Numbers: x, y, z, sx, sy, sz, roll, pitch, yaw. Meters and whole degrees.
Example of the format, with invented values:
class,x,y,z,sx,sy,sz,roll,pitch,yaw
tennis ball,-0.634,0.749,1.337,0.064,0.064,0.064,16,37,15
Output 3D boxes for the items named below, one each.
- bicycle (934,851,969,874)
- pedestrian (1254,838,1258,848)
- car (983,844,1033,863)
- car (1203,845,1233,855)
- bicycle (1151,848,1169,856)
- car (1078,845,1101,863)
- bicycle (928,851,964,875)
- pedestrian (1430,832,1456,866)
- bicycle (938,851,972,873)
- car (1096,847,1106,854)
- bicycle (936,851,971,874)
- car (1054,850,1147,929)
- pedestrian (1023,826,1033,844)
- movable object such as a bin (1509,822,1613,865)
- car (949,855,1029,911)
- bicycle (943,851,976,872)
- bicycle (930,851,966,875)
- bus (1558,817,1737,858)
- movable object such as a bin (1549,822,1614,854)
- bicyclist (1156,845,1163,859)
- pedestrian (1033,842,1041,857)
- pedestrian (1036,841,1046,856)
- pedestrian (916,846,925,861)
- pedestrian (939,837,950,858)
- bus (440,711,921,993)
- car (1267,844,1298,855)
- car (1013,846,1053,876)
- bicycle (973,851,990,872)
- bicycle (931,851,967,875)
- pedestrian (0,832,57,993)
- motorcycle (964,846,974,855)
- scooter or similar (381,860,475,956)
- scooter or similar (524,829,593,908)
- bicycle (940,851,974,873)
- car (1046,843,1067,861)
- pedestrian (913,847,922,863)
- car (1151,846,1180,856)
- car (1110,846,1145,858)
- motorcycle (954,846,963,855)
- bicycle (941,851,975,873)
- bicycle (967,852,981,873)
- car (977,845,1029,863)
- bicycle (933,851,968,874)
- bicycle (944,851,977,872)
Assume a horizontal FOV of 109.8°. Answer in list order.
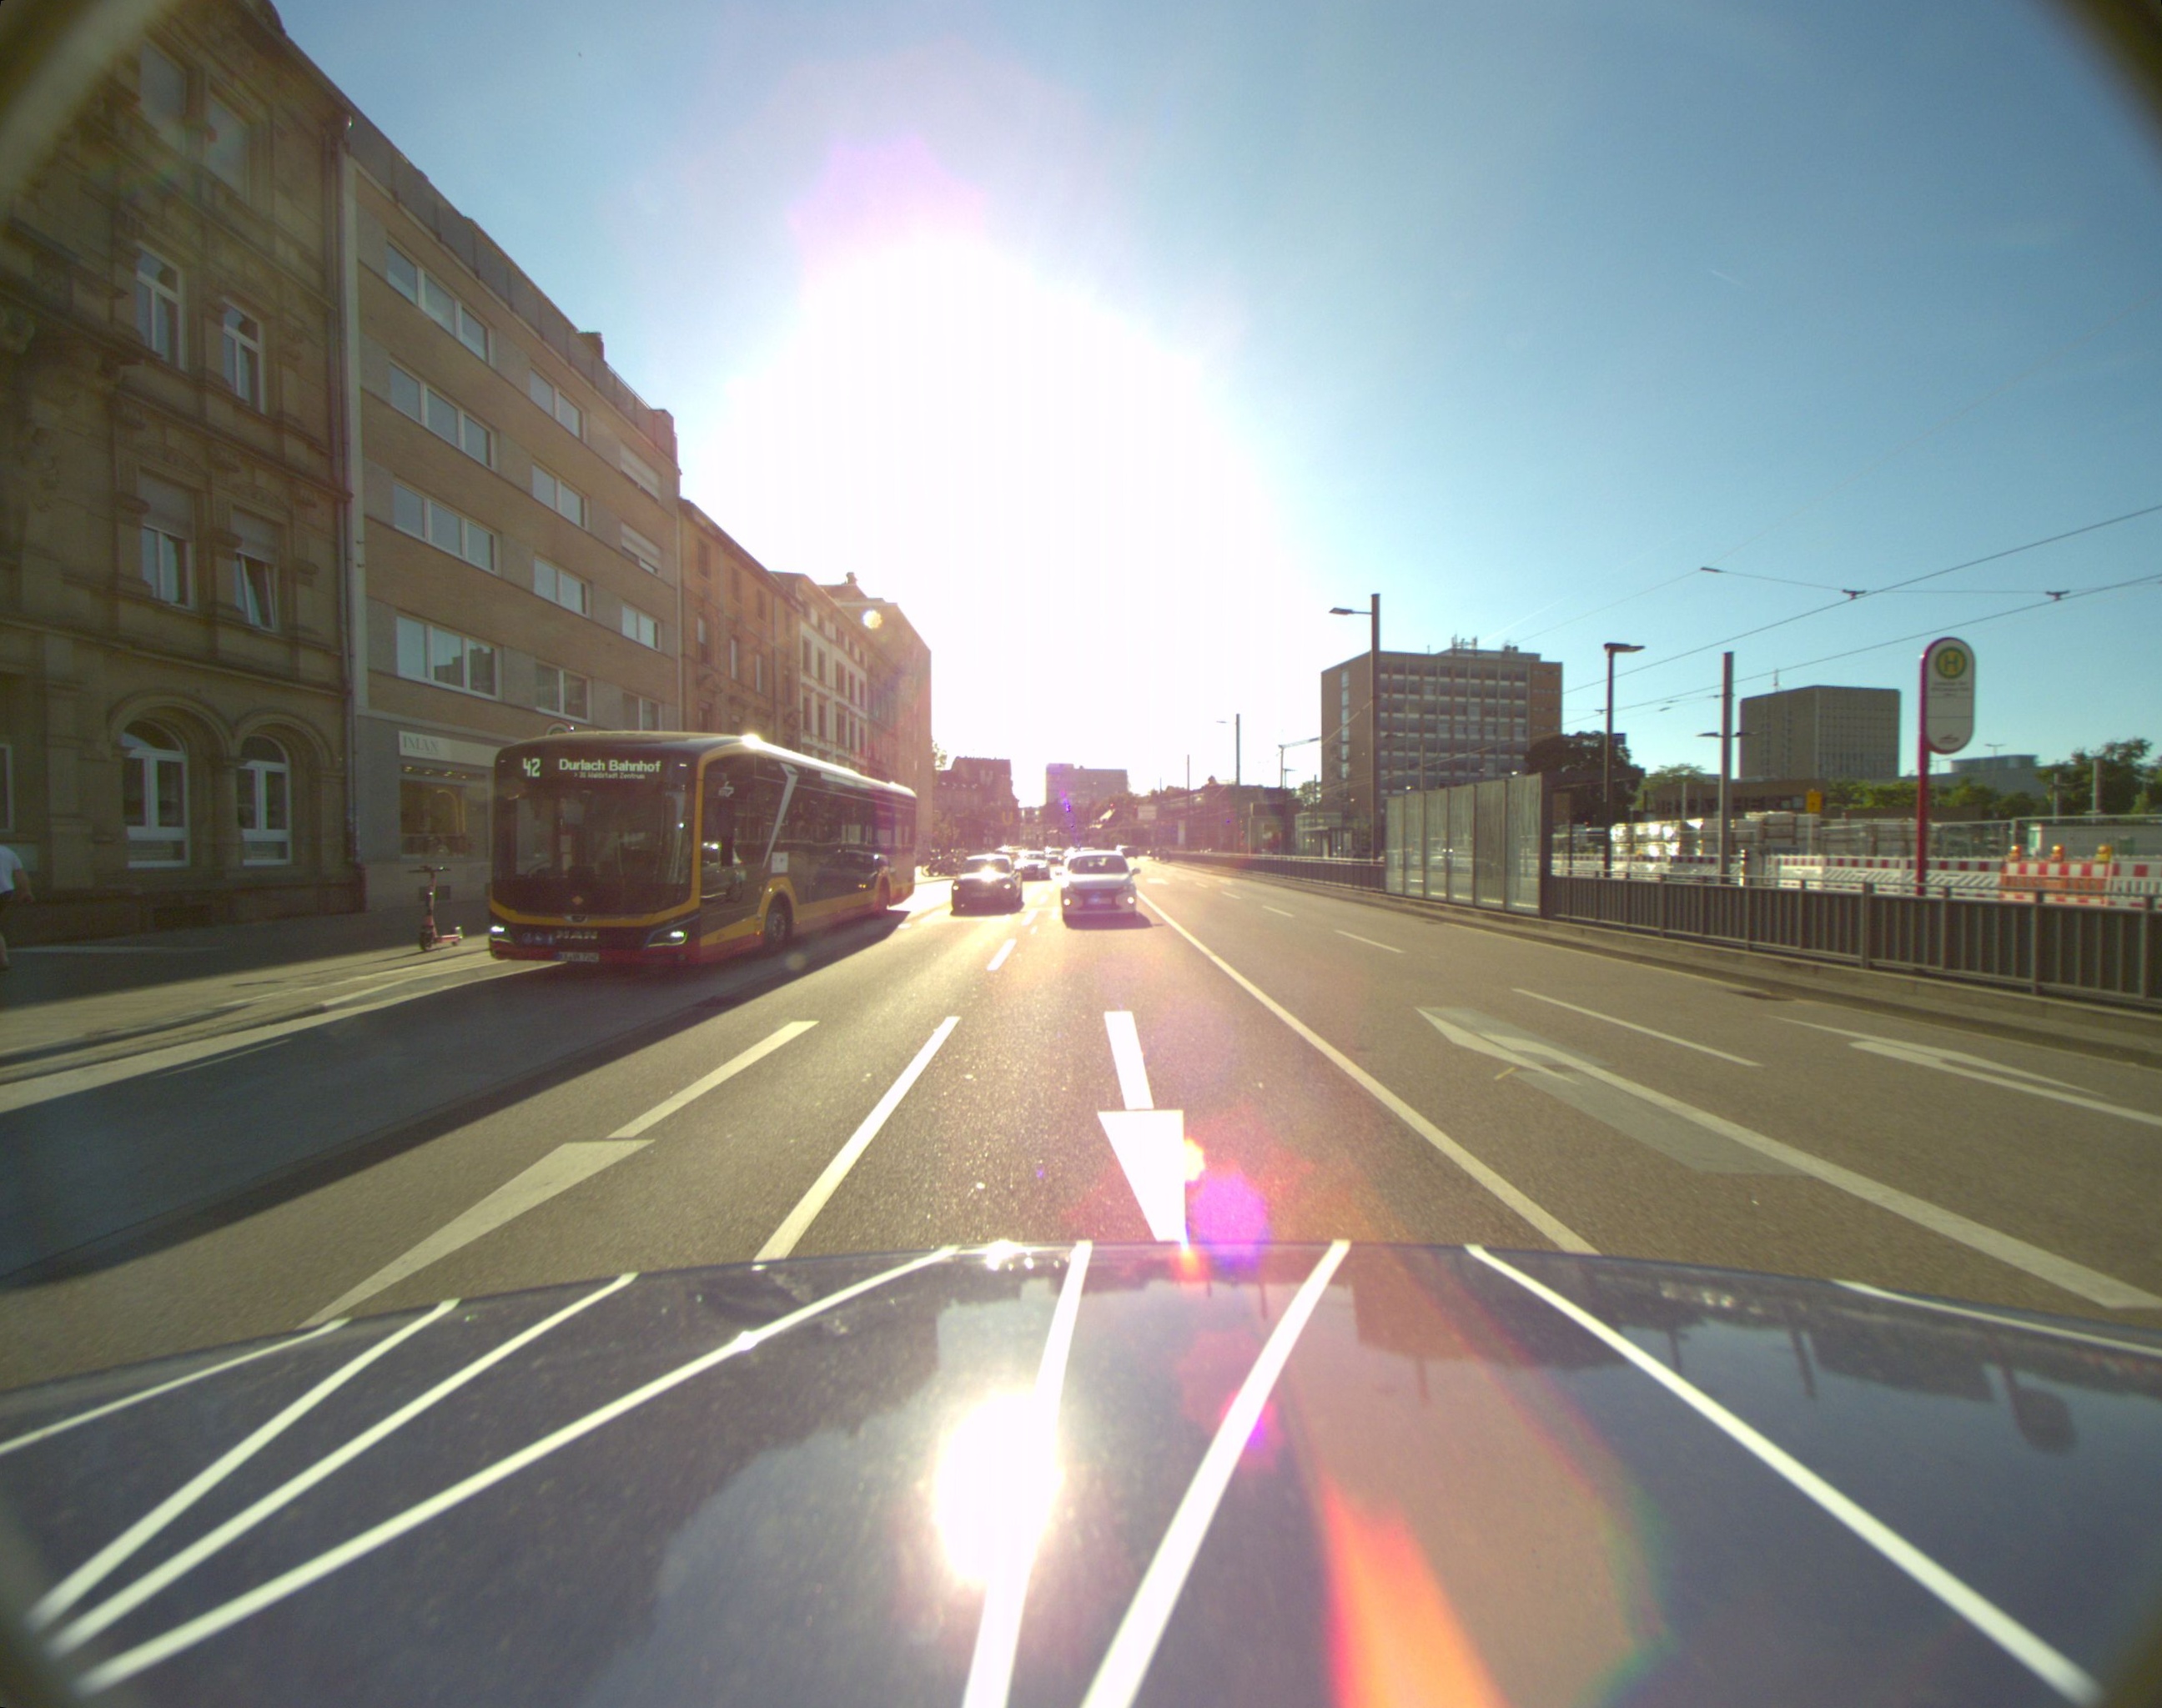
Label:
class,x,y,z,sx,sy,sz,roll,pitch,yaw
bicycle,-6.939,0.460,40.830,1.769,1.180,0.470,-1,0,0
pedestrian,30.816,-1.949,133.658,0.732,1.730,0.622,0,3,11
car,-6.697,-0.059,69.887,4.259,1.561,1.955,-2,1,-44
car,22.480,-0.668,124.844,4.698,1.673,2.003,0,-2,15
bicycle,9.122,-0.209,87.465,1.894,0.936,0.815,1,1,-5
car,0.790,-0.017,73.811,1.999,1.666,4.281,-1,1,-2
bicycle,-6.890,0.461,38.835,1.769,1.180,0.470,-1,0,0
pedestrian,19.144,-0.247,40.182,0.804,1.757,1.180,1,-1,0
bicycle,-6.940,0.461,41.852,1.769,1.180,0.470,-1,0,0
car,5.086,-0.897,192.962,1.757,1.455,4.015,-1,-1,-12
bicycle,-6.937,0.463,41.332,1.769,1.180,0.470,-1,0,0
car,0.571,0.742,17.747,1.719,1.484,3.871,-2,2,8
pedestrian,-5.485,-1.975,78.962,0.755,1.856,0.696,-1,2,-42
movable object such as a bin,30.607,-0.594,48.720,2.637,2.510,5.163,1,-2,-18
car,-2.496,0.748,21.435,1.694,1.380,3.832,-2,0,1
bicycle,-6.946,0.439,43.357,1.769,1.172,0.470,-1,0,0
bicycle,-6.871,0.457,39.329,1.769,1.180,0.470,-1,0,0
bus,50.499,-1.323,68.301,12.624,3.174,2.848,-1,-2,44
movable object such as a bin,28.543,-0.867,43.470,1.176,1.577,3.866,1,-2,-1
bicyclist,9.000,-0.258,87.455,0.676,1.607,0.815,1,2,-5
pedestrian,-5.009,-0.481,86.014,0.698,1.718,0.752,-1,1,-16
pedestrian,-4.678,-0.651,89.154,0.796,1.718,0.868,-1,1,-31
pedestrian,-13.831,-0.067,65.487,0.516,1.312,0.592,0,1,7
pedestrian,-12.533,-0.615,69.543,0.754,1.856,0.829,-1,1,-30
bus,-5.848,-0.103,14.855,2.722,3.163,12.538,1,1,0
car,32.153,-0.671,121.022,4.698,1.673,2.003,0,-2,15
car,-2.378,0.310,38.455,1.826,1.380,4.456,-2,1,-2
bicycle,-5.795,0.433,44.117,0.470,1.140,1.767,-1,0,-23
bicycle,-6.906,0.469,39.833,1.796,1.180,0.470,-1,0,0
pedestrian,-12.634,0.661,8.661,0.853,1.822,0.780,1,-1,8
motorcycle,-14.751,-0.474,99.831,1.041,1.068,2.279,1,0,-15
scooter or similar,-9.329,0.735,10.904,0.433,1.242,1.293,1,2,-12
scooter or similar,-8.734,0.216,12.737,0.432,1.242,1.293,1,2,-9
bicycle,-6.902,0.444,42.359,1.769,1.180,0.470,-1,0,0
car,-2.083,-0.185,66.286,1.783,1.455,3.914,0,1,-1
pedestrian,-13.923,0.093,64.765,0.516,1.312,0.592,0,1,7
car,14.516,-0.451,130.720,4.697,1.673,2.003,0,-2,18
car,6.551,-0.283,107.855,4.625,1.679,1.995,-1,1,-30
motorcycle,-15.052,-0.436,93.262,0.880,1.040,1.803,1,2,-2
bicycle,-6.935,0.443,42.859,1.769,1.180,0.470,-1,0,0
bicycle,-5.810,0.442,41.402,0.470,1.140,1.771,-1,0,0
car,-6.786,0.007,66.225,4.121,1.455,1.956,-1,1,-41
bicycle,-6.924,0.442,40.323,1.769,1.180,0.470,-1,0,0
bicycle,-6.940,0.454,43.859,1.769,1.172,0.470,-1,0,0
